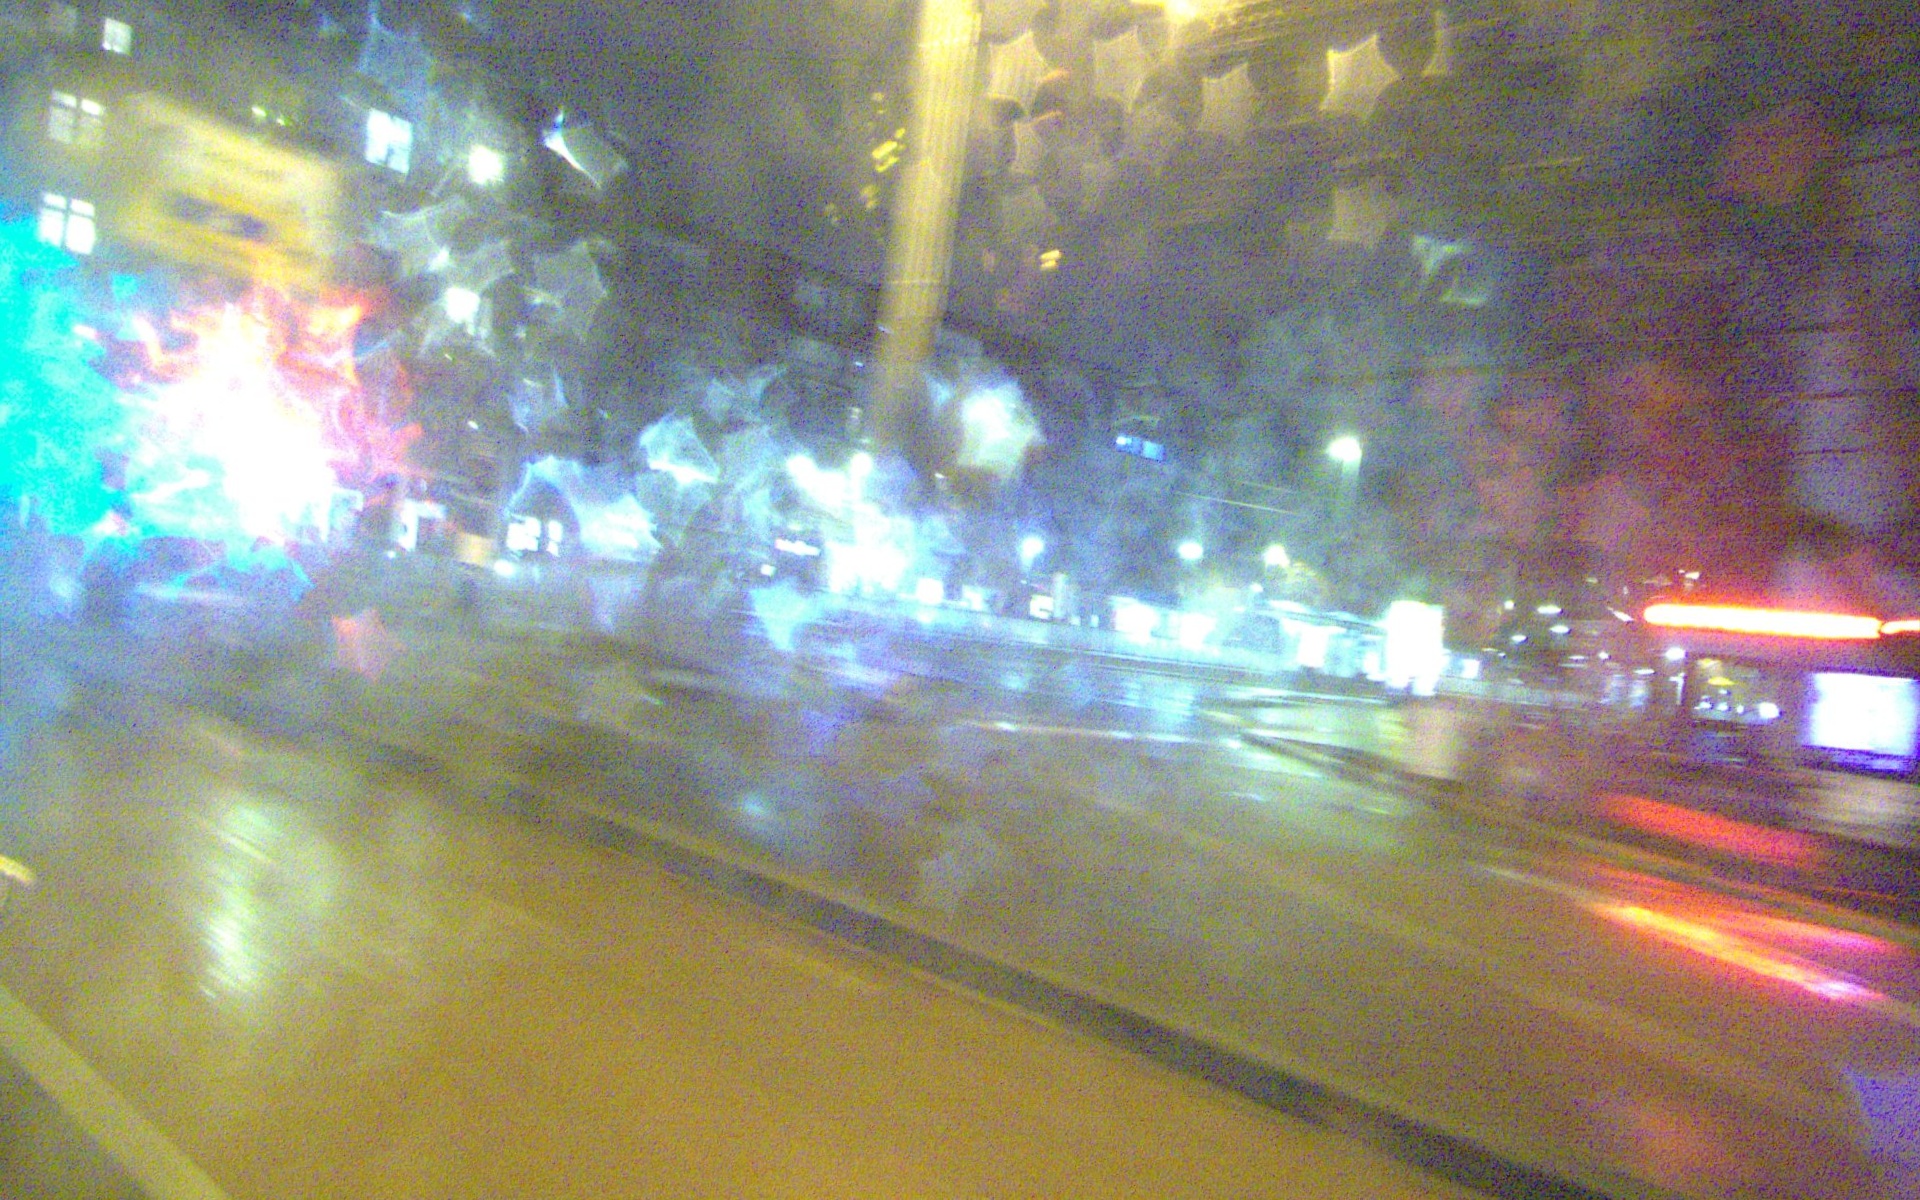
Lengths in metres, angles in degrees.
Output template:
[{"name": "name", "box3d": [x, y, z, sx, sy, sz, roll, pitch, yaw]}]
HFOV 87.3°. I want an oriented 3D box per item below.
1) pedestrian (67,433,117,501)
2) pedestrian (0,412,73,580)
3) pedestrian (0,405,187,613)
[{"name": "pedestrian", "box3d": [-28.485, -4.367, 33.037, 0.968, 2.040, 1.005, 7, 4, -34]}, {"name": "pedestrian", "box3d": [-11.260, -1.252, 11.709, 0.838, 1.848, 1.107, 10, 2, 37]}, {"name": "pedestrian", "box3d": [-8.639, -0.879, 10.032, 0.837, 1.848, 1.108, 10, 2, 34]}]
